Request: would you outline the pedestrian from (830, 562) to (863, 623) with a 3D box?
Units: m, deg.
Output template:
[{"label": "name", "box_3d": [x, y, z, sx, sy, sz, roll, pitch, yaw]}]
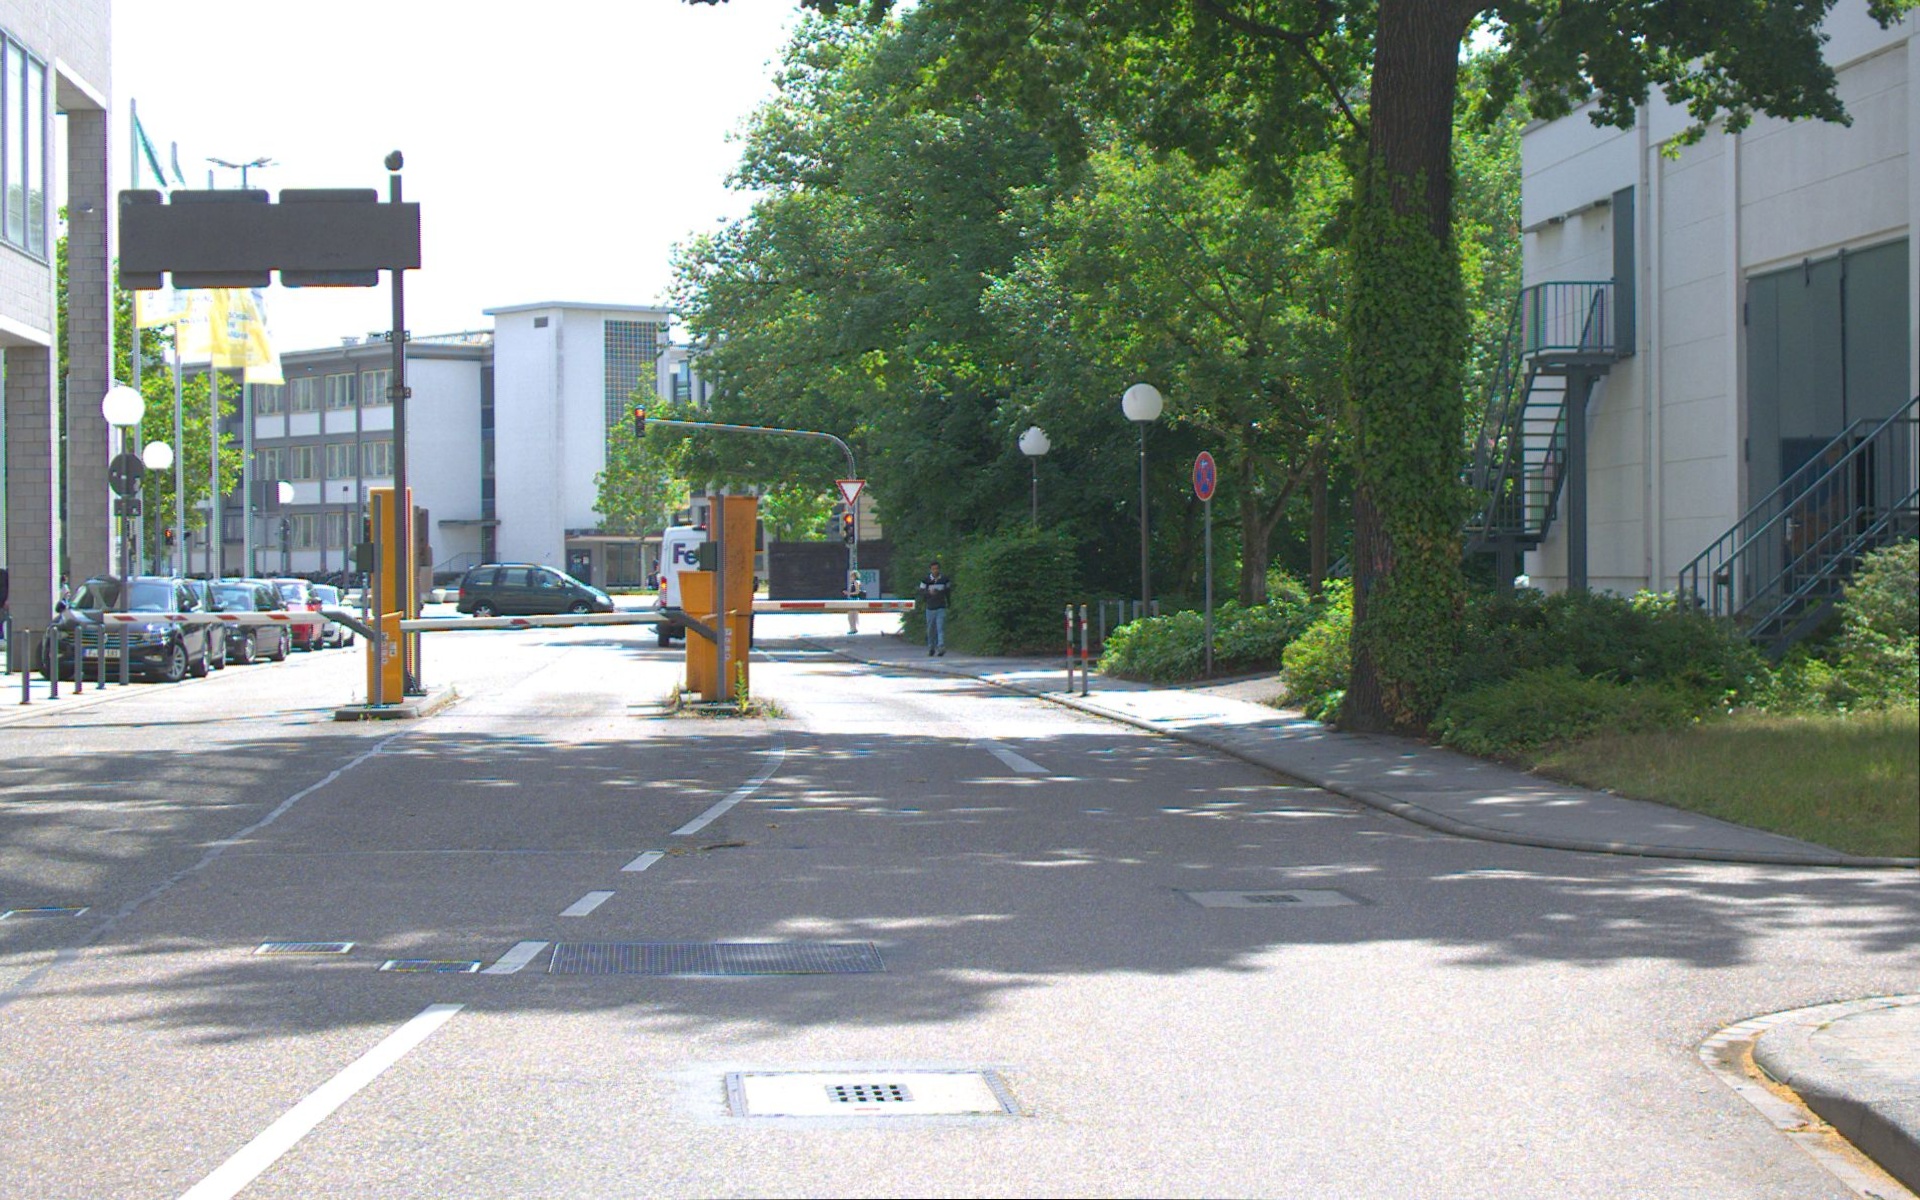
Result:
[{"label": "pedestrian", "box_3d": [-2.961, -0.204, 89.609, 0.731, 1.570, 0.776, 1, 0, -10]}]

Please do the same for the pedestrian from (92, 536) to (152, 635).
[{"label": "pedestrian", "box_3d": [-17.242, -0.295, 70.754, 0.904, 2.020, 0.797, 0, 0, 25]}]

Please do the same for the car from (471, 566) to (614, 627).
[{"label": "car", "box_3d": [-12.160, -0.104, 100.134, 4.075, 1.741, 1.730, 0, 0, -7]}]

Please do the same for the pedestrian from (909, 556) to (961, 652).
[{"label": "pedestrian", "box_3d": [-0.434, 0.062, 59.892, 0.739, 1.669, 1.257, 0, 0, -8]}]

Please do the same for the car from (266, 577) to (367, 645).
[{"label": "car", "box_3d": [-14.296, 0.224, 76.545, 1.676, 1.390, 4.663, 2, 0, -4]}]

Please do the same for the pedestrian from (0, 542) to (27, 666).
[{"label": "pedestrian", "box_3d": [-18.856, 0.076, 67.508, 0.758, 2.414, 0.738, 0, 0, 13]}]

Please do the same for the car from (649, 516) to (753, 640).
[{"label": "car", "box_3d": [-5.618, -0.498, 74.008, 2.095, 2.558, 5.603, 0, 1, -6]}]

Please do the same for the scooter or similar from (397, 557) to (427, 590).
[{"label": "scooter or similar", "box_3d": [-19.365, -0.936, 121.477, 0.716, 1.174, 2.726, 0, 1, -16]}]

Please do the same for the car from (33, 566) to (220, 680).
[{"label": "car", "box_3d": [-11.744, 0.288, 48.709, 1.859, 1.462, 4.719, 2, 0, -5]}]

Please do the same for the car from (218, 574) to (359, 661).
[{"label": "car", "box_3d": [-11.713, 0.274, 60.263, 1.859, 1.373, 5.017, 2, 0, -5]}]
